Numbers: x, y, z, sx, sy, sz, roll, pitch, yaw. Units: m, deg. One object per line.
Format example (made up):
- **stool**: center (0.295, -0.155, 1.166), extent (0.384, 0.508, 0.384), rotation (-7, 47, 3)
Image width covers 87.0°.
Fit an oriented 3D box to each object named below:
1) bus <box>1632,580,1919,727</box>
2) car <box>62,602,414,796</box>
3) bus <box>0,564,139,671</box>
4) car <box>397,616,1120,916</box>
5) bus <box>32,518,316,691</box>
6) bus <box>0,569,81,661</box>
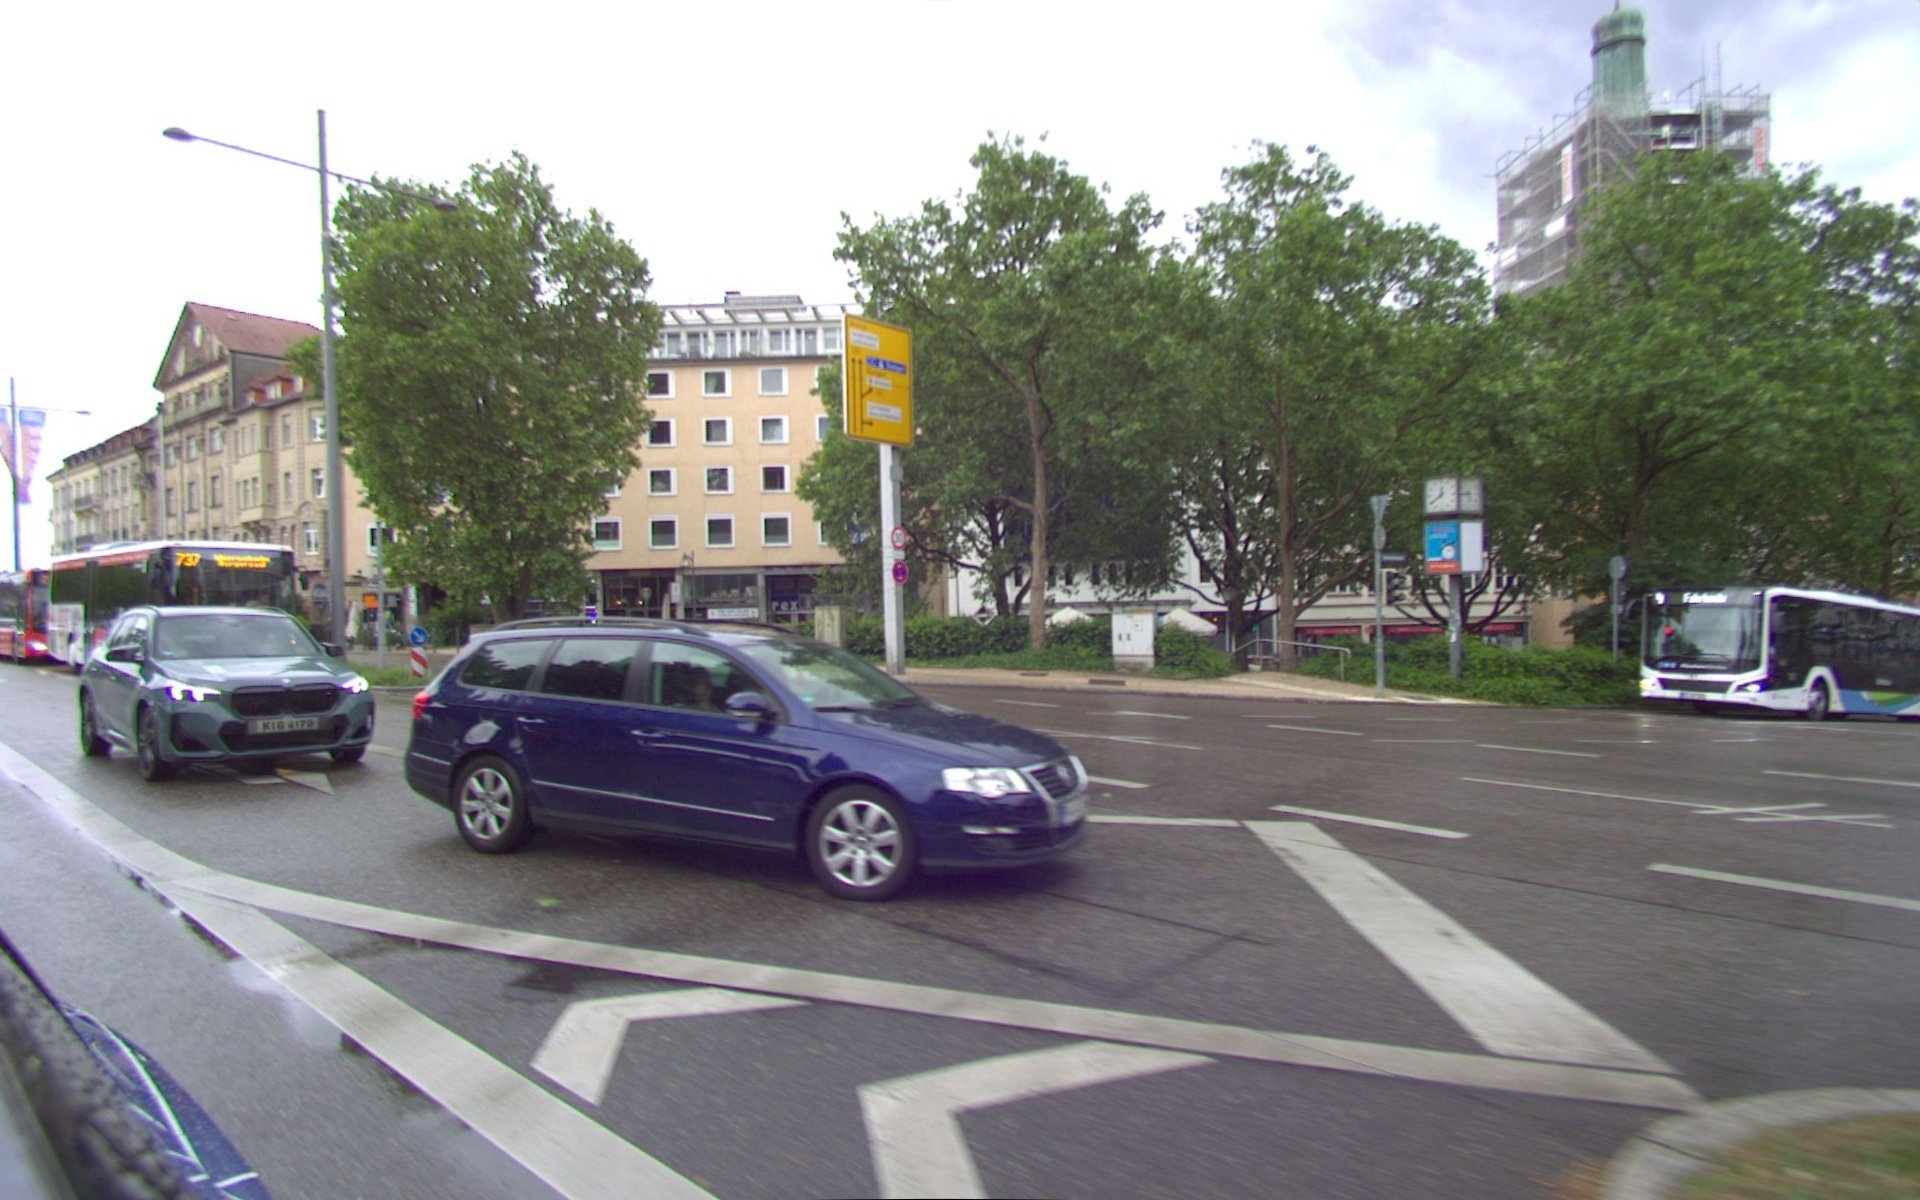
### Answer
- **bus**: center (21.517, 1.439, 25.122), extent (11.767, 3.042, 2.898), rotation (3, -3, -29)
- **car**: center (-7.768, 0.880, 10.745), extent (4.354, 1.652, 1.945), rotation (-1, -1, 39)
- **bus**: center (-30.238, 0.583, 33.801), extent (8.835, 3.156, 2.724), rotation (-1, -1, 40)
- **car**: center (-1.337, 0.820, 6.553), extent (4.388, 1.420, 1.806), rotation (-1, -1, 25)
- **bus**: center (-20.126, 0.214, 25.400), extent (12.546, 3.465, 2.926), rotation (-1, -1, 39)
- **bus**: center (-37.416, 0.610, 39.788), extent (9.904, 3.270, 2.781), rotation (-1, -1, 40)
